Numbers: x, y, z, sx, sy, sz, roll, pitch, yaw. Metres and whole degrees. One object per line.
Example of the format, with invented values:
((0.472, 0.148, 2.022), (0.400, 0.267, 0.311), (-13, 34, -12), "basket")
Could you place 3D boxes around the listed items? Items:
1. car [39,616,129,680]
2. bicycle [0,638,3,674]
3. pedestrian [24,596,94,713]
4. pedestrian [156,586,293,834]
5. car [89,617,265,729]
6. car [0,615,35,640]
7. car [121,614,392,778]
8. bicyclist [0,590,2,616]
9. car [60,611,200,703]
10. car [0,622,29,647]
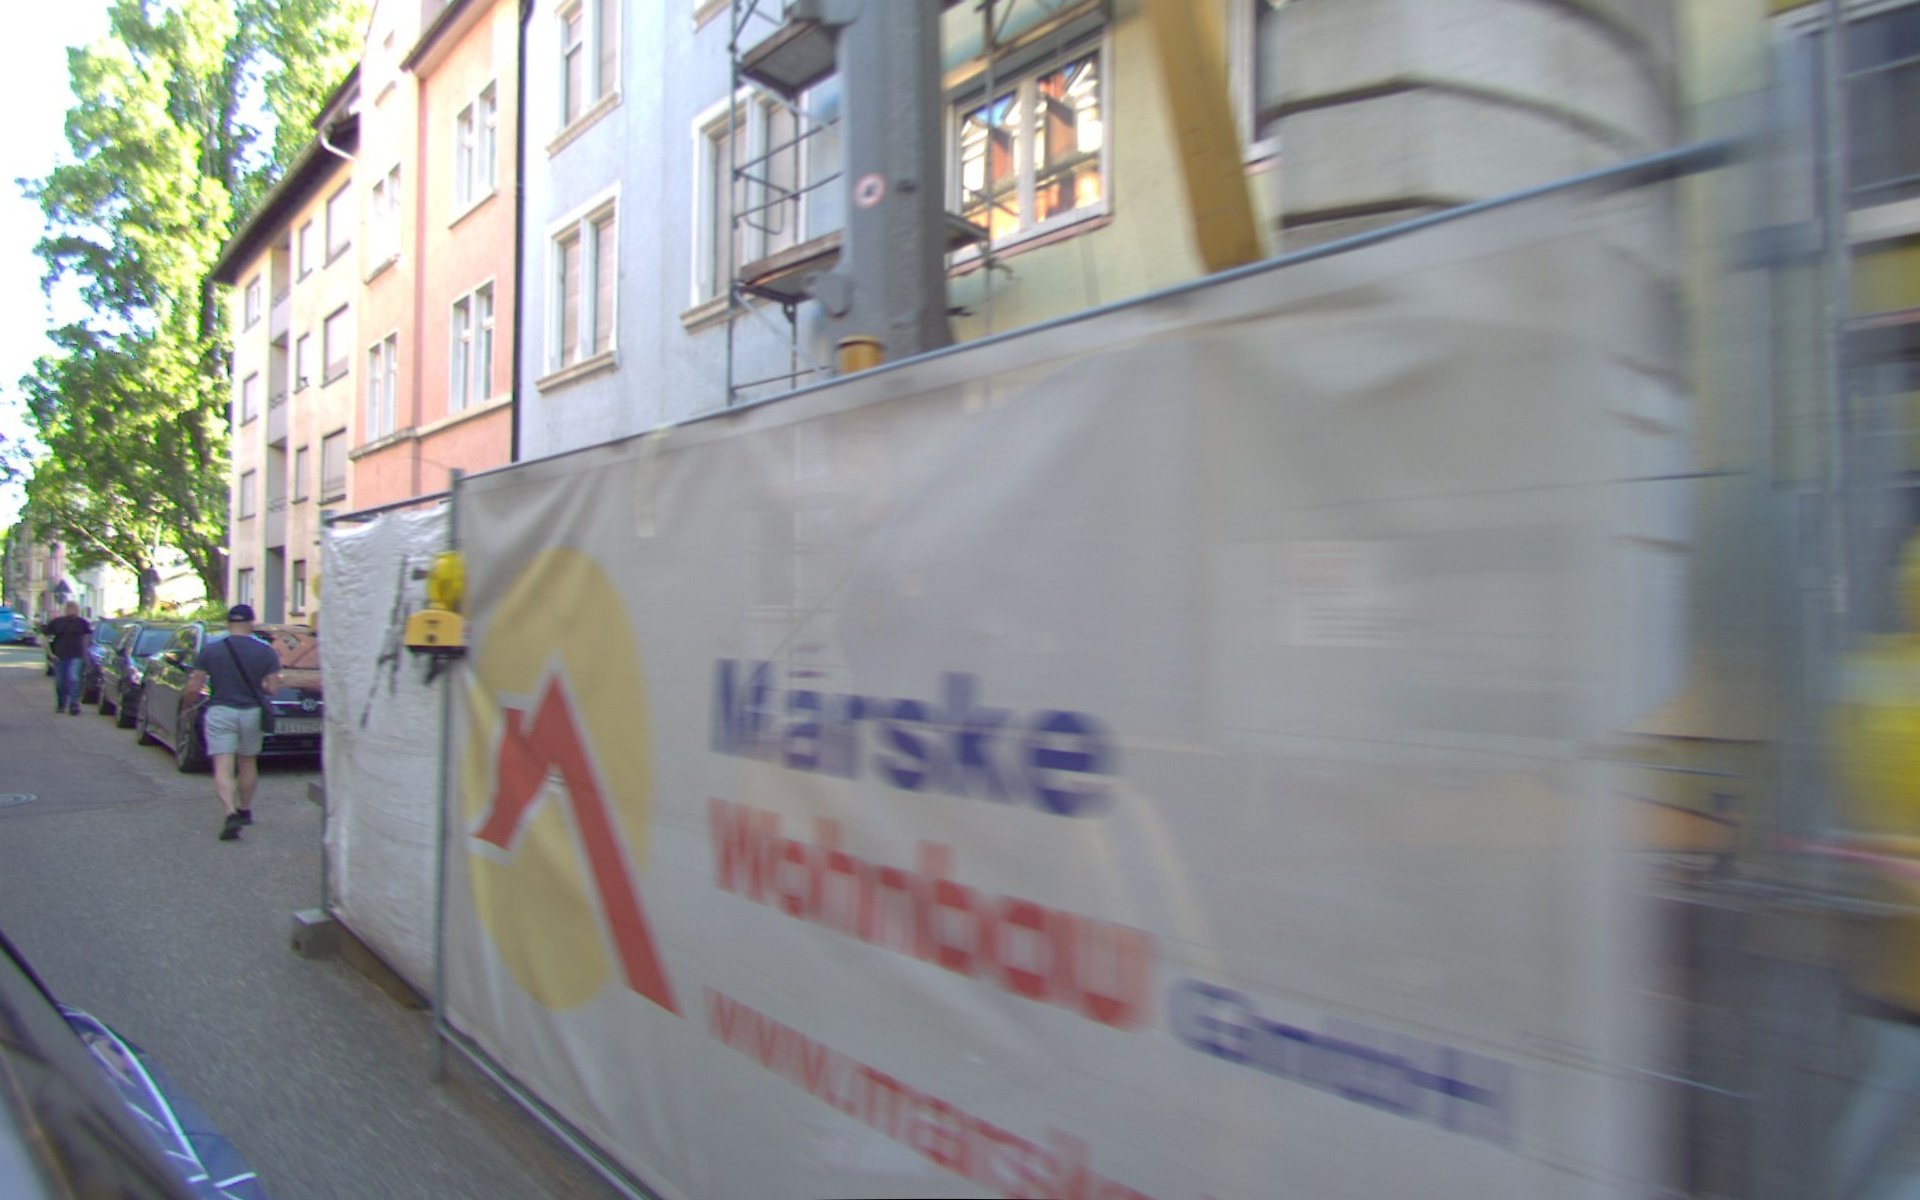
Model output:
((-22.701, 1.227, 26.195), (1.444, 1.533, 3.662), (3, -4, -45), "car")
((-13.434, 1.076, 13.573), (1.846, 1.166, 0.679), (-1, -4, 43), "bicycle")
((-14.139, 0.833, 15.873), (0.729, 1.767, 0.998), (2, -3, -44), "pedestrian")
((-5.297, 0.756, 7.286), (0.813, 1.656, 0.586), (-1, -4, 45), "pedestrian")
((-12.158, 1.029, 15.622), (1.624, 1.503, 4.002), (3, -3, -45), "car")
((-61.168, 1.746, 65.203), (2.137, 1.529, 5.380), (3, -3, -44), "car")
((-8.305, 0.966, 11.753), (1.746, 1.520, 4.699), (3, -3, -45), "car")
((-13.342, 0.694, 13.507), (0.893, 1.690, 0.657), (-1, -4, 42), "bicyclist")
((-16.067, 1.051, 19.514), (1.624, 1.586, 4.251), (3, -3, -45), "car")
((-51.410, 1.847, 54.468), (1.735, 1.311, 4.251), (3, -3, -45), "car")
